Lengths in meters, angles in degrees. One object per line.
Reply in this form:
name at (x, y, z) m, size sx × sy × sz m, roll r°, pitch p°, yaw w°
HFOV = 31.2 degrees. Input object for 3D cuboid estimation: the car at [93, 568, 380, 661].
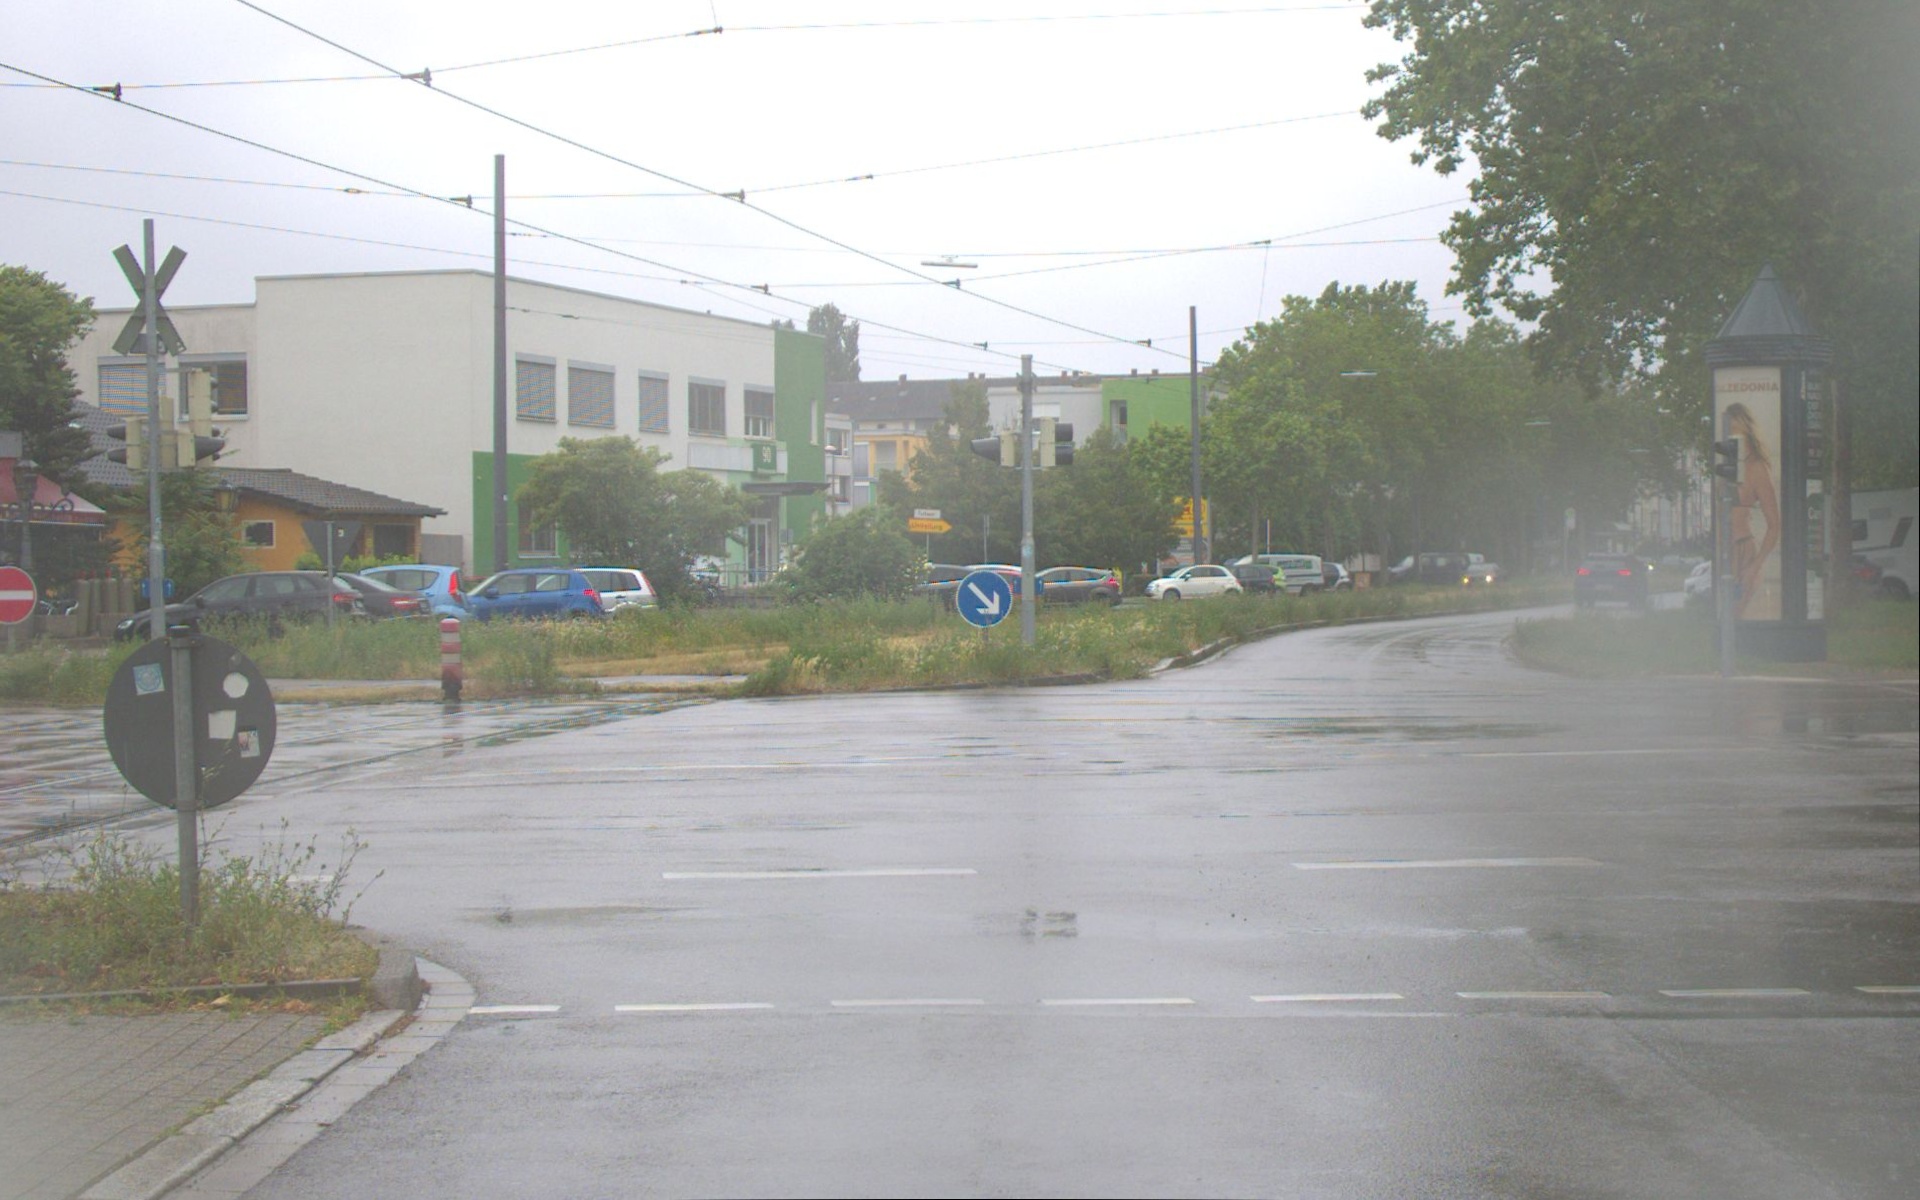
car at (-12.385, 0.231, 58.997) m, size 4.477 × 1.413 × 1.858 m, roll -2°, pitch 0°, yaw 1°

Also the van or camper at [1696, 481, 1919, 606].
van or camper at (23.264, -1.470, 89.680) m, size 7.434 × 3.167 × 3.259 m, roll 1°, pitch 1°, yaw 22°

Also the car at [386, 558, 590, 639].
car at (-9.583, -0.043, 69.743) m, size 3.986 × 1.576 × 1.930 m, roll 0°, pitch 0°, yaw -11°

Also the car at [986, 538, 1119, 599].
car at (2.961, -1.013, 110.068) m, size 3.986 × 1.881 × 2.000 m, roll 1°, pitch 0°, yaw -7°

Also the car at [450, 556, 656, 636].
car at (-8.642, -0.091, 72.921) m, size 4.107 × 1.635 × 1.930 m, roll -1°, pitch 0°, yaw -14°

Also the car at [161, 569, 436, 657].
car at (-11.787, 0.229, 61.404) m, size 4.497 × 1.413 × 1.858 m, roll -2°, pitch 0°, yaw 1°

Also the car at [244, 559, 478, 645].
car at (-11.253, 0.030, 64.735) m, size 3.987 × 1.576 × 1.858 m, roll 0°, pitch 0°, yaw 4°

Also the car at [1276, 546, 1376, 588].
car at (16.381, -1.480, 153.853) m, size 3.986 × 1.826 × 2.001 m, roll 1°, pitch 0°, yaw -11°

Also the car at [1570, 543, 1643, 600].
car at (19.483, -0.858, 103.486) m, size 1.807 × 1.680 × 3.908 m, roll 1°, pitch 1°, yaw 16°

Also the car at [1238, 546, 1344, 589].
car at (13.943, -1.387, 144.890) m, size 3.986 × 1.752 × 2.011 m, roll 1°, pitch 0°, yaw -11°

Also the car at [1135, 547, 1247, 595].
car at (8.514, -1.081, 126.775) m, size 3.773 × 1.697 × 1.837 m, roll 1°, pitch 0°, yaw -10°

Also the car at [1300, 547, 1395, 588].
car at (17.902, -1.509, 158.923) m, size 3.986 × 1.826 × 2.000 m, roll 1°, pitch 0°, yaw -5°

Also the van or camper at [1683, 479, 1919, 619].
van or camper at (20.865, -1.180, 80.542) m, size 7.328 × 3.167 × 3.259 m, roll 1°, pitch 1°, yaw 18°

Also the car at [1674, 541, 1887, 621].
car at (18.519, -0.443, 77.584) m, size 4.449 × 1.711 × 1.998 m, roll 1°, pitch 1°, yaw 21°
